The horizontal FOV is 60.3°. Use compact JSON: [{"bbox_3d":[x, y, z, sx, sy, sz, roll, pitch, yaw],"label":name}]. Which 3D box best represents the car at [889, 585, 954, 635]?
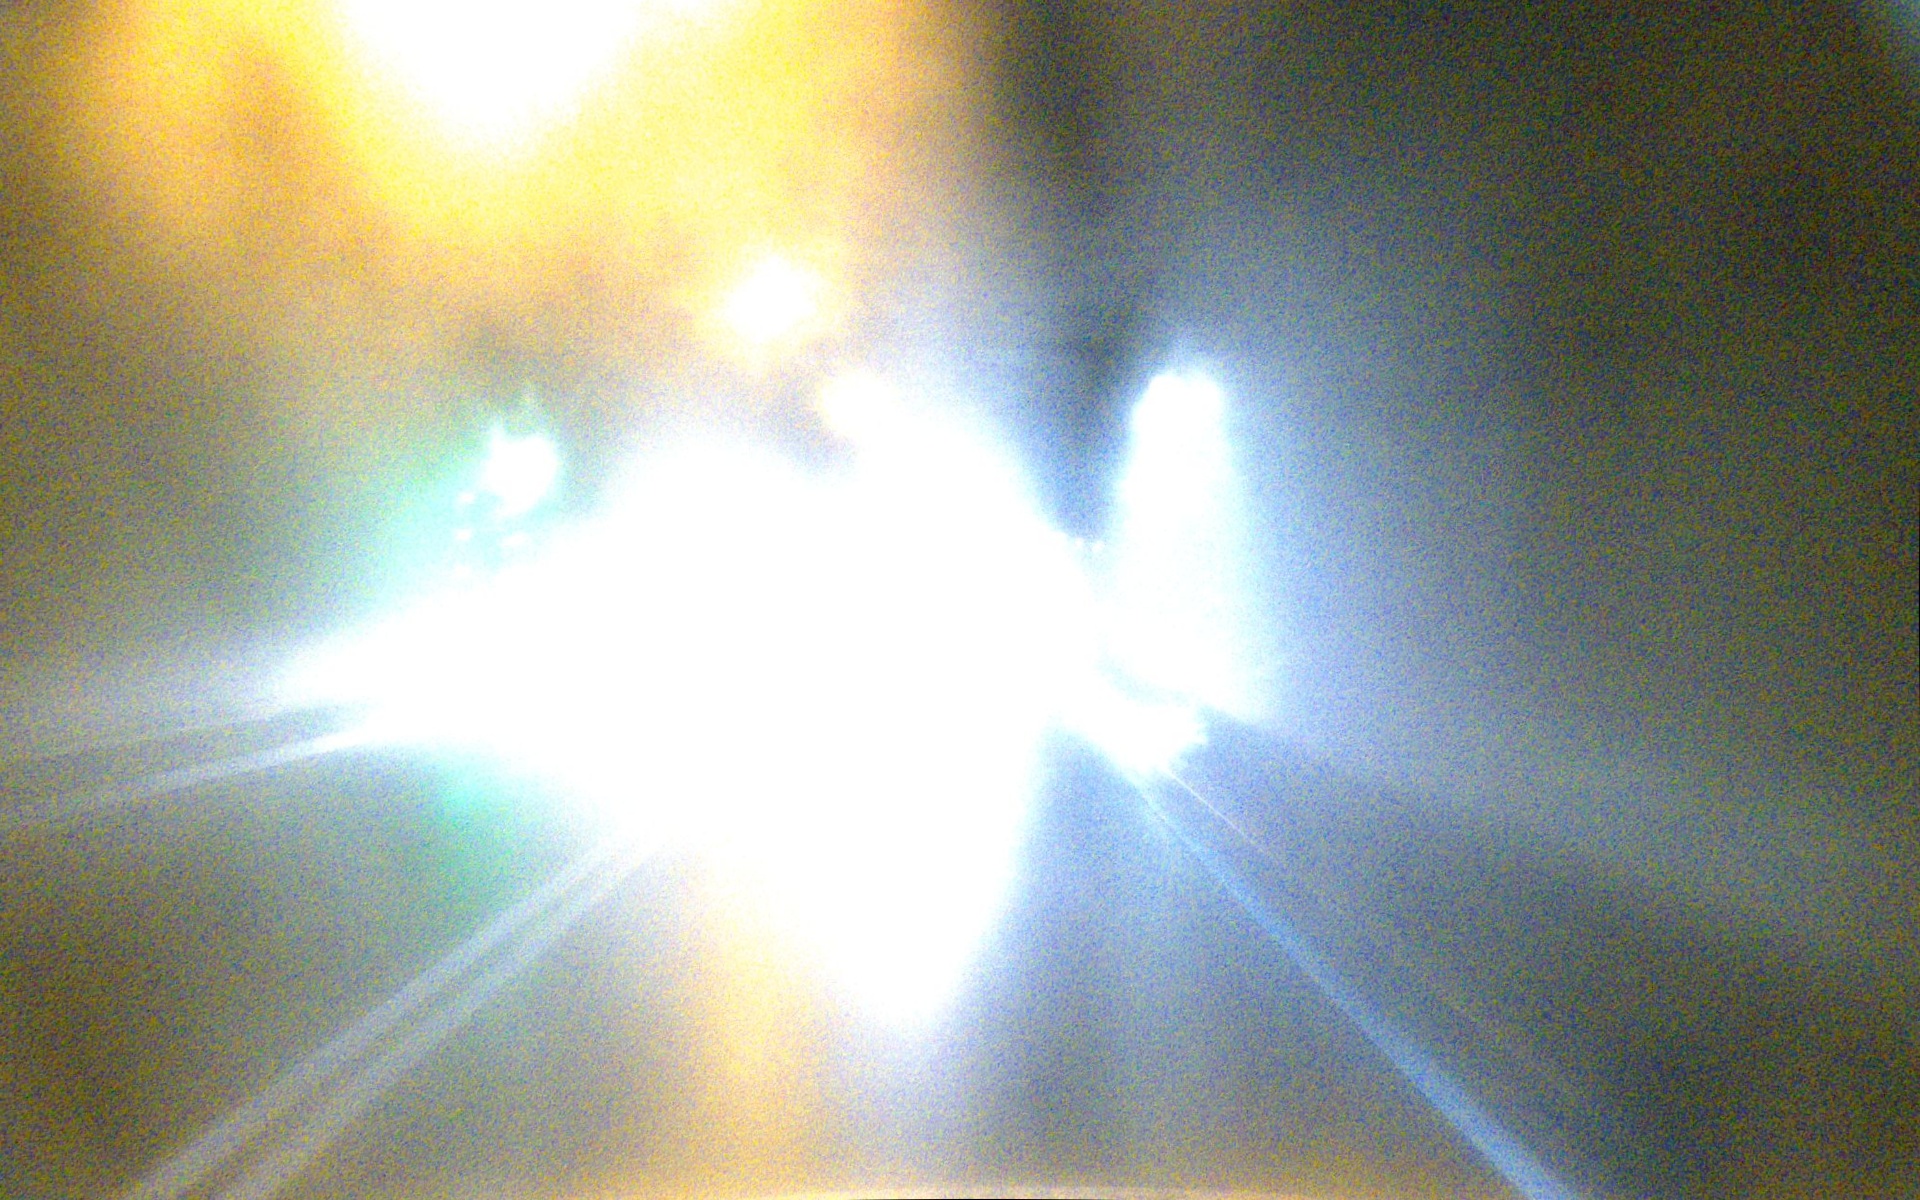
[{"bbox_3d":[-1.309,0.325,58.129,1.952,1.679,4.002,1,0,3],"label":"car"}]

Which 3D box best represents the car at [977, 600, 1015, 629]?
[{"bbox_3d":[1.852,0.741,86.413,1.808,1.500,3.999,0,0,-2],"label":"car"}]

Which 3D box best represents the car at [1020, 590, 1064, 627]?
[{"bbox_3d":[3.846,0.388,78.181,1.952,1.679,4.001,1,0,1],"label":"car"}]
